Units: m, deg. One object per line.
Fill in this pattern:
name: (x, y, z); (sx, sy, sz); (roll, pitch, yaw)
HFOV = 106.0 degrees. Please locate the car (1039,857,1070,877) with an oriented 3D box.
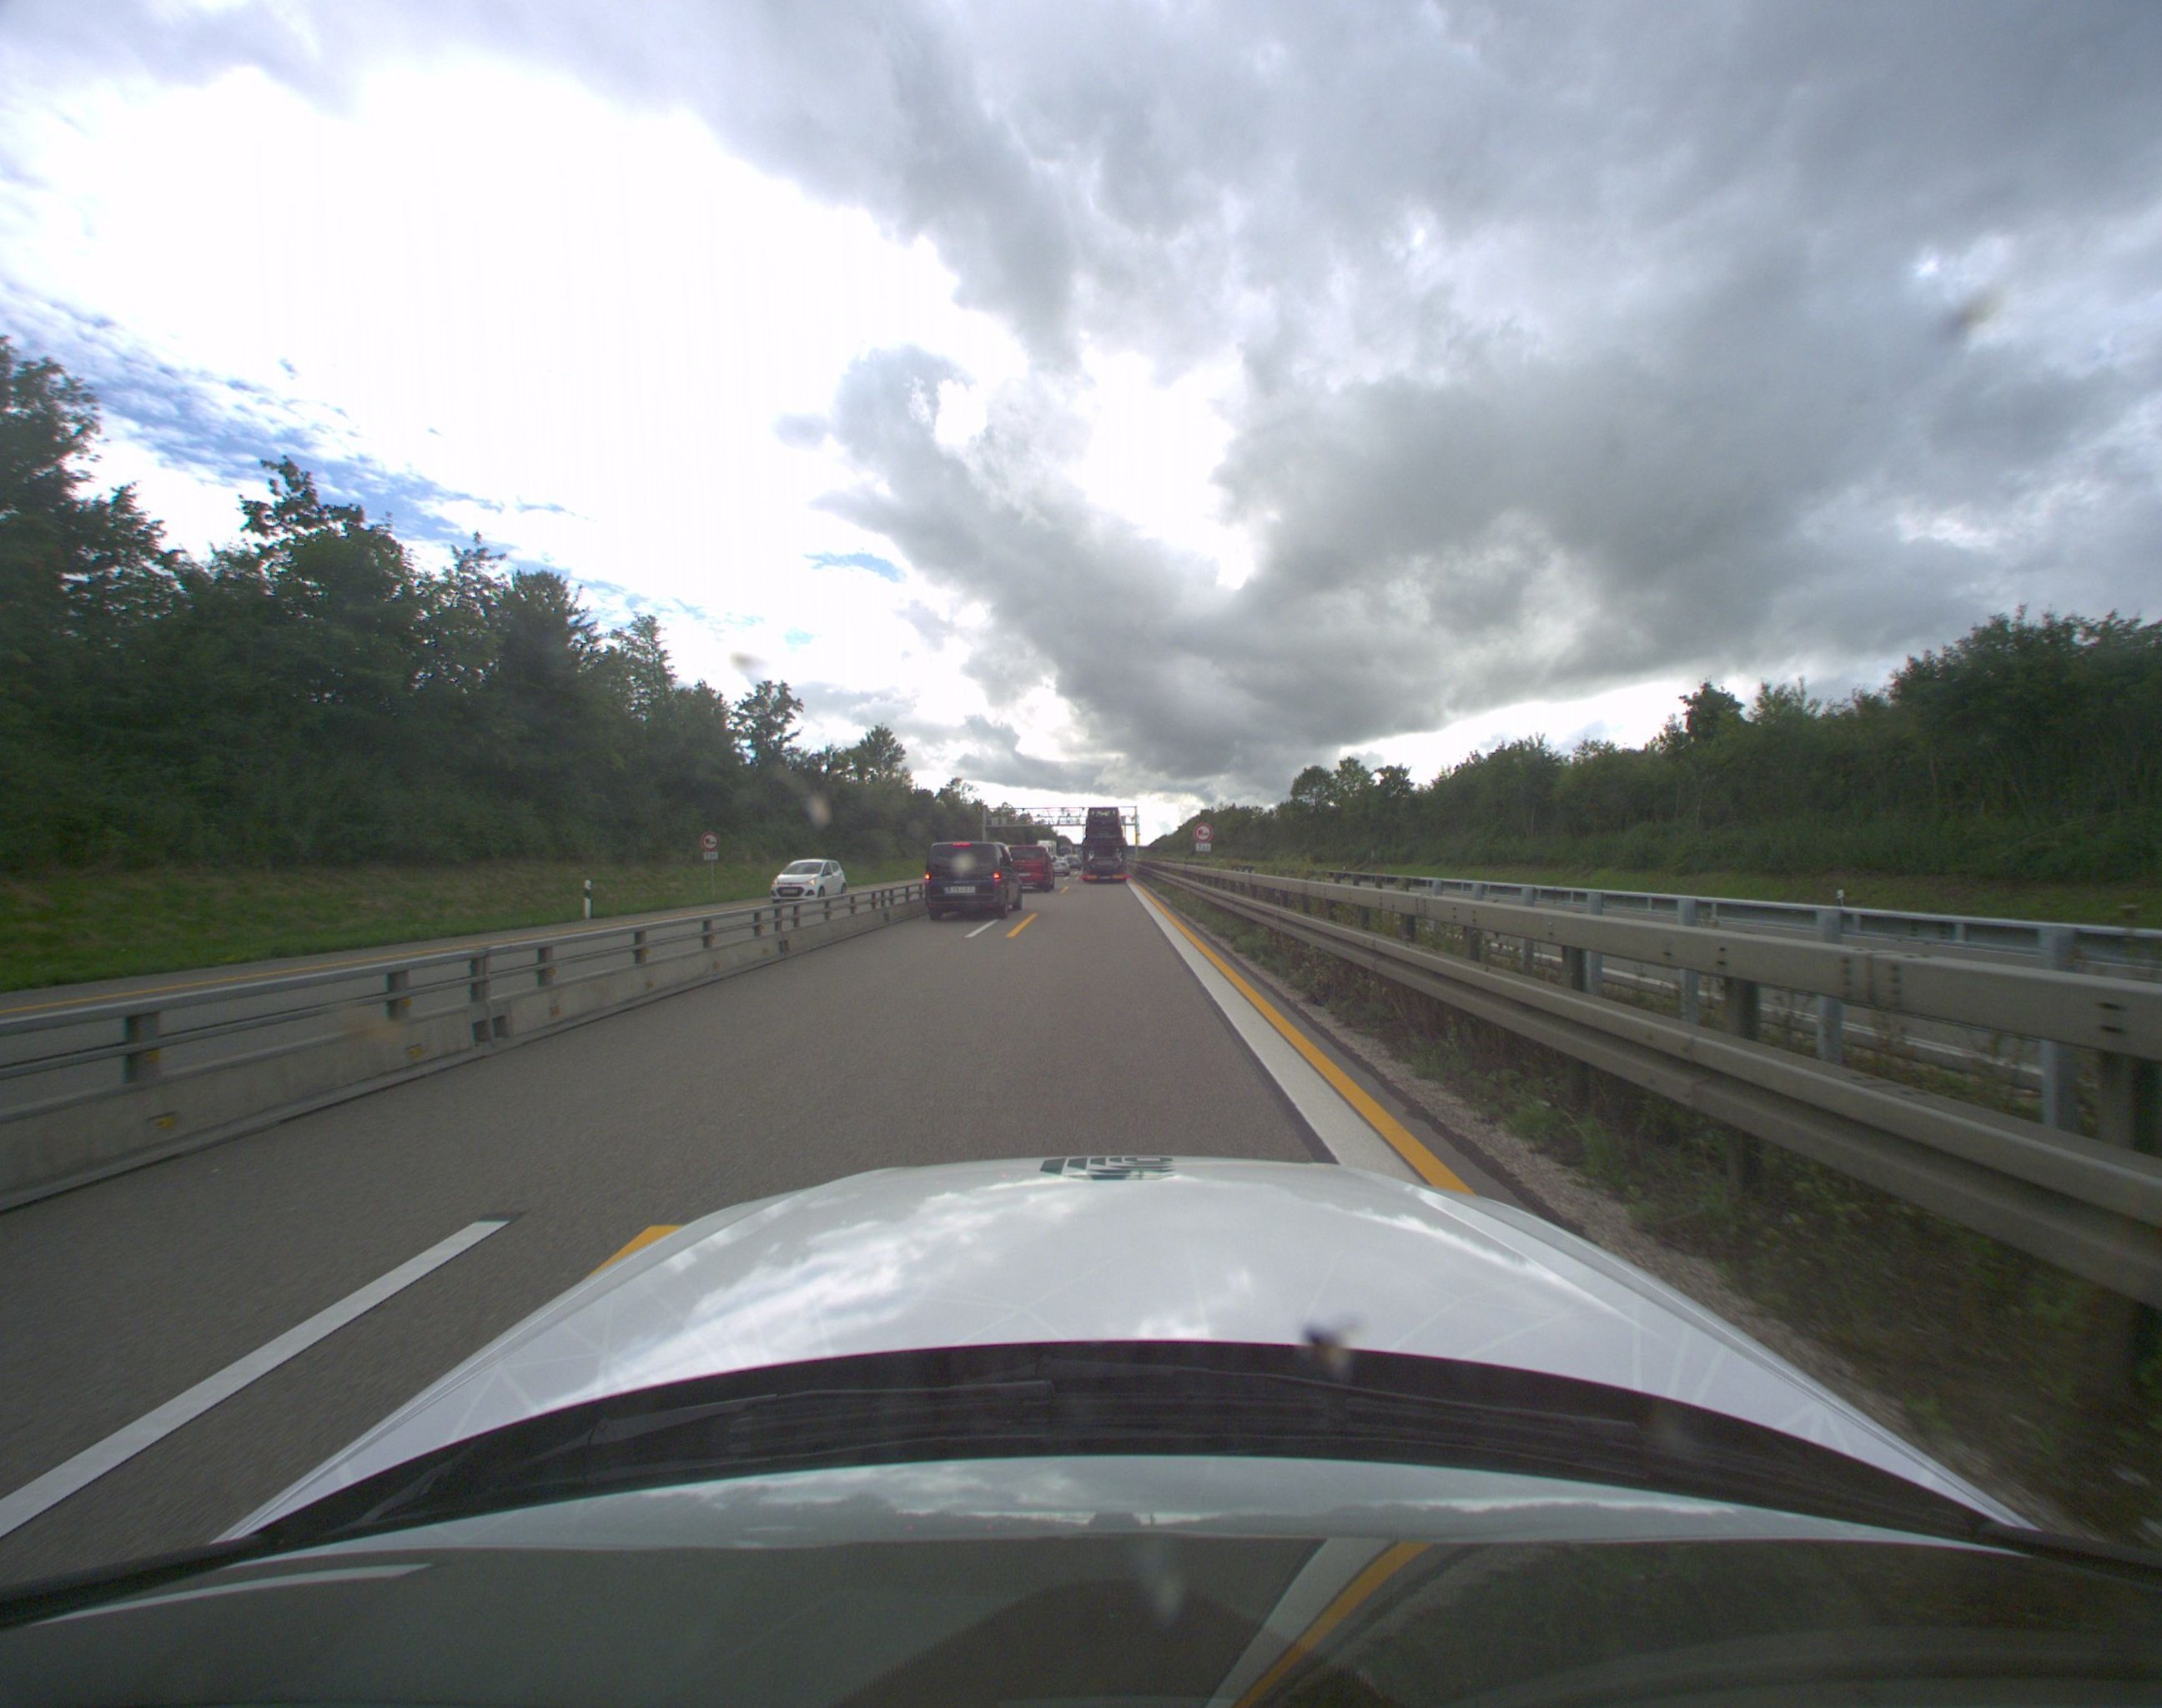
car: (-1.965, 0.930, 61.312); (2.024, 1.431, 4.578); (-1, 0, 1)

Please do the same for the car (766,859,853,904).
car: (-9.565, 0.920, 29.006); (1.689, 1.454, 3.959); (0, 0, 1)

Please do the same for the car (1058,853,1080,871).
car: (-1.177, 0.824, 82.023); (2.024, 1.757, 4.578); (-1, 0, 1)

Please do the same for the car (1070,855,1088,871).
car: (-0.189, 1.058, 98.241); (2.024, 1.757, 4.578); (-1, 0, 1)

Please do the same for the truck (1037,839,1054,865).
truck: (-6.008, -0.352, 138.291); (2.589, 4.155, 5.622); (0, 0, 1)

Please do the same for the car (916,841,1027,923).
car: (-2.702, 0.666, 21.549); (1.986, 1.843, 5.611); (-1, 0, 2)

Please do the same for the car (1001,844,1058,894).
car: (-2.143, 0.614, 35.149); (2.023, 2.014, 4.579); (-1, 0, 2)

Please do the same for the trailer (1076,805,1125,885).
trailer: (1.236, -0.436, 47.470); (2.505, 4.105, 11.119); (-1, 0, 2)

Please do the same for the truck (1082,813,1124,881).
truck: (1.431, -0.415, 52.199); (2.505, 4.105, 5.688); (-1, 0, 2)
